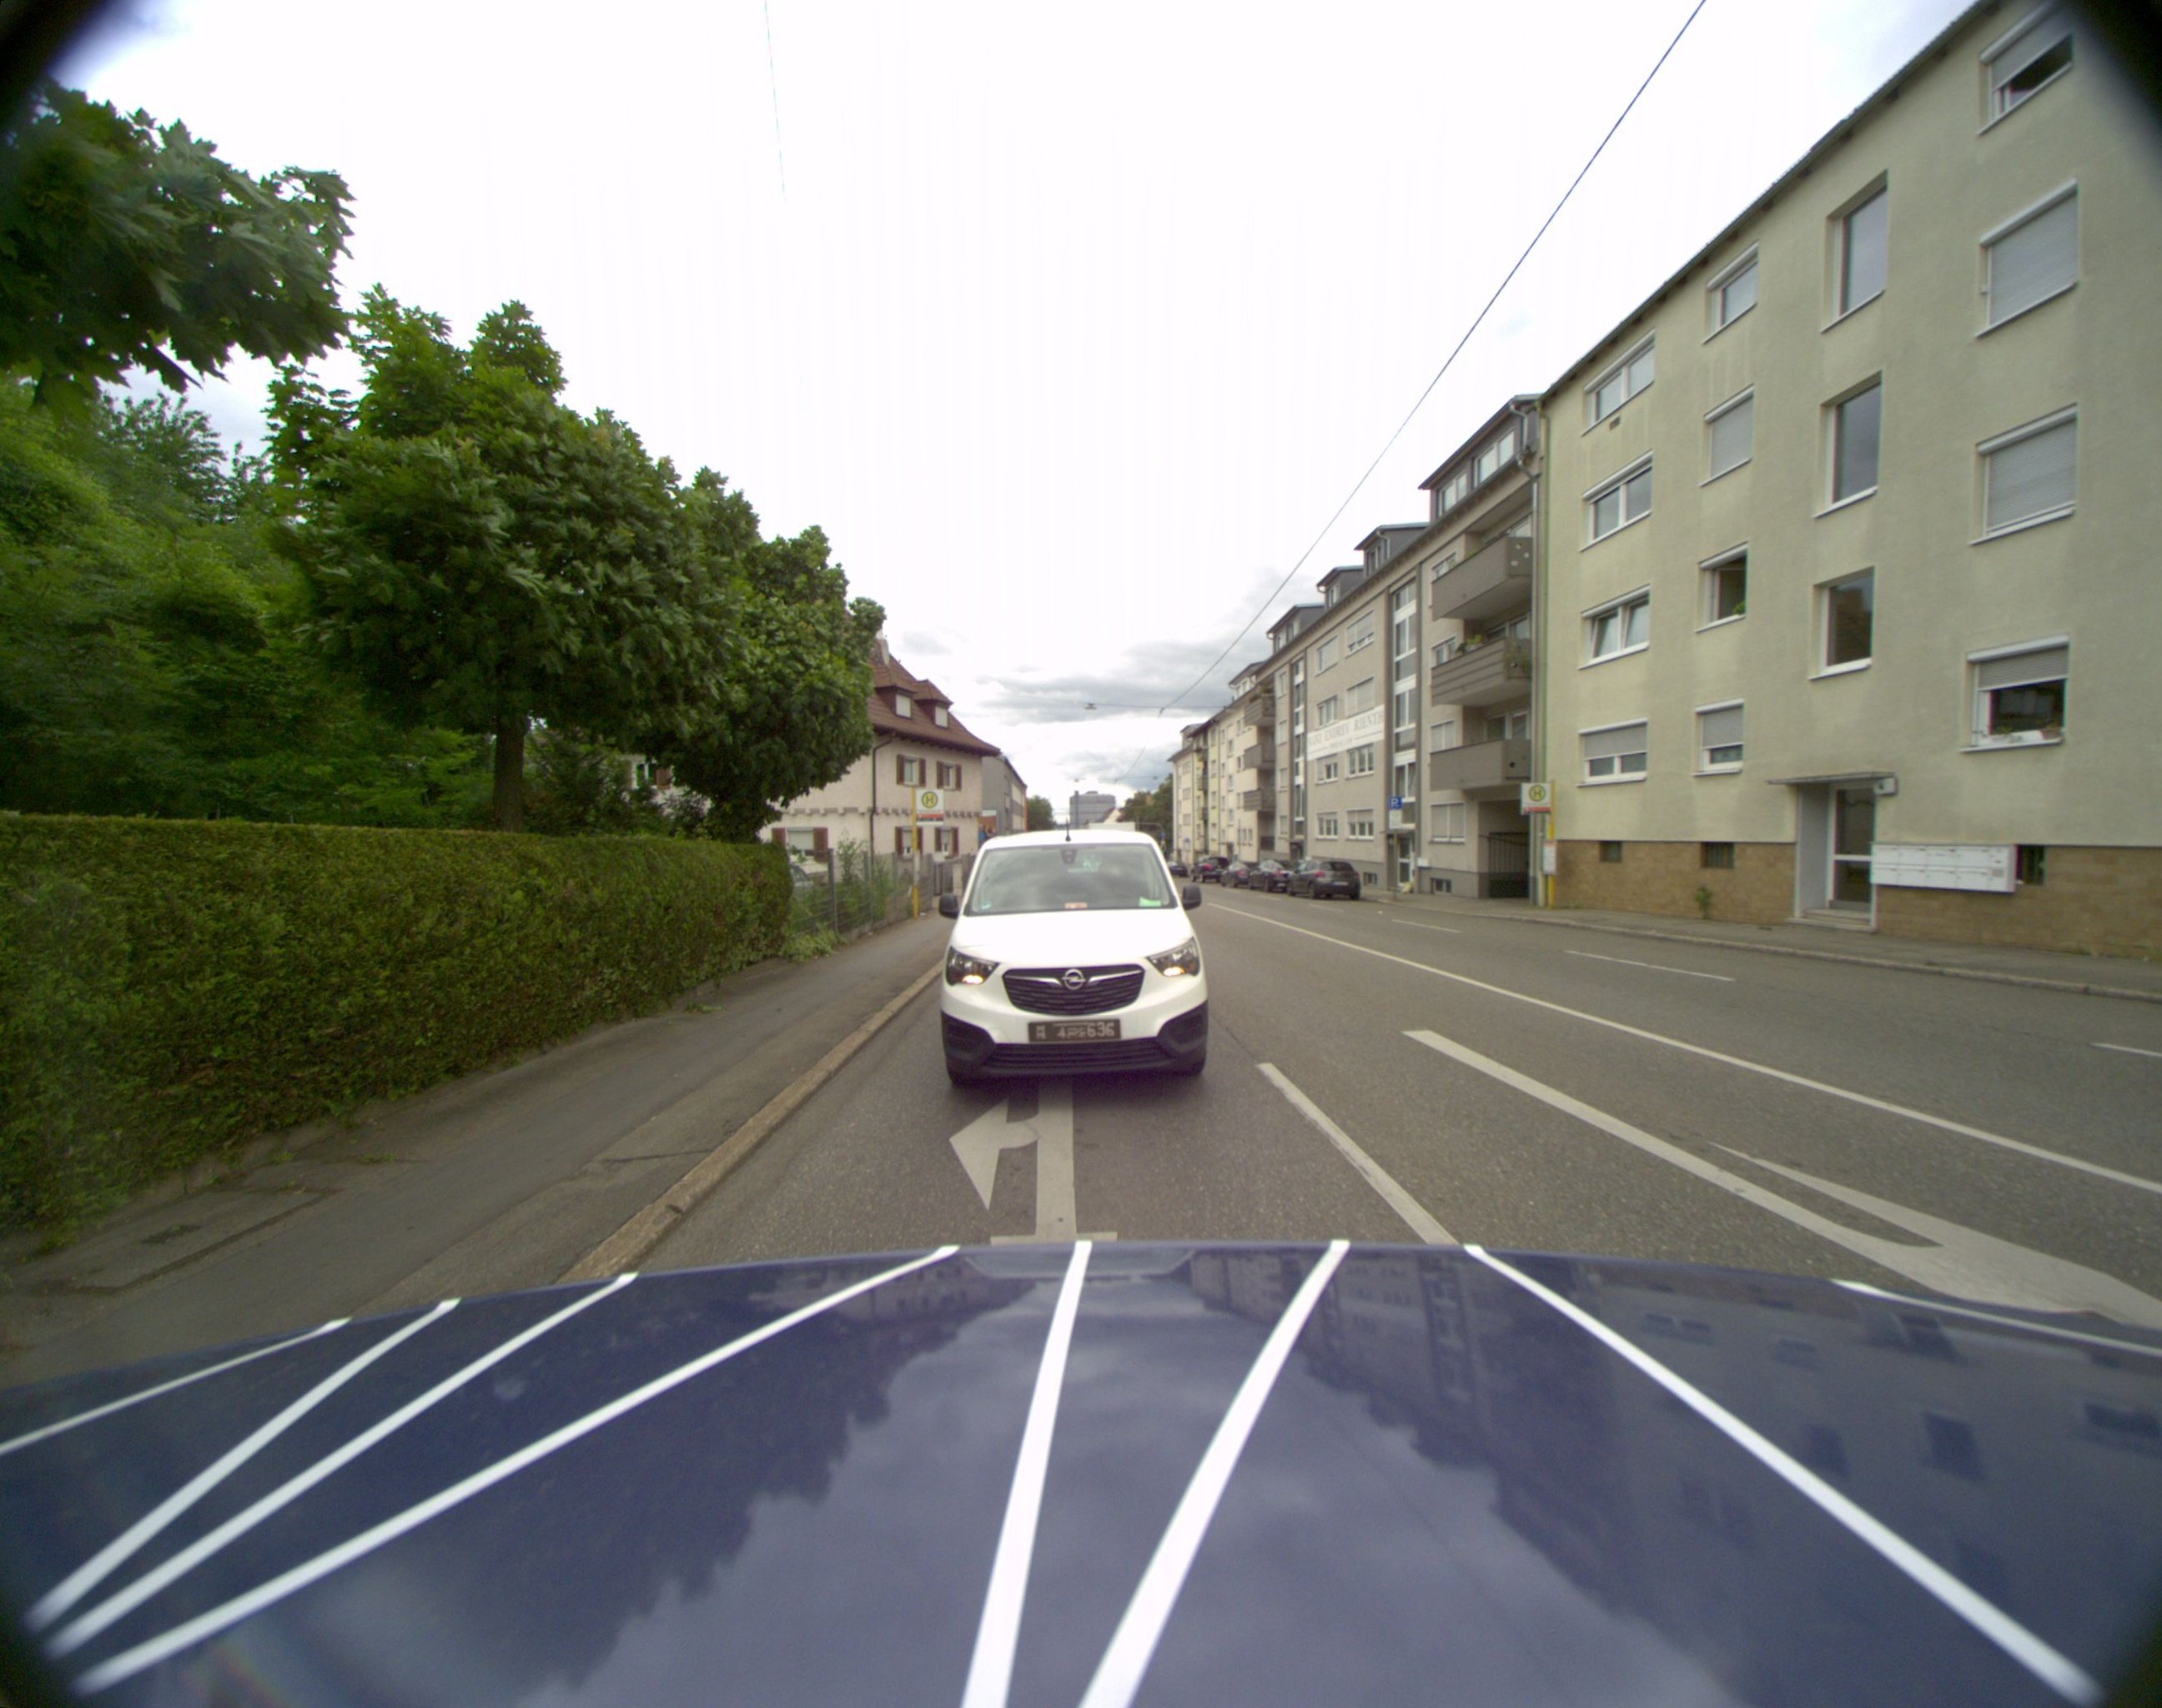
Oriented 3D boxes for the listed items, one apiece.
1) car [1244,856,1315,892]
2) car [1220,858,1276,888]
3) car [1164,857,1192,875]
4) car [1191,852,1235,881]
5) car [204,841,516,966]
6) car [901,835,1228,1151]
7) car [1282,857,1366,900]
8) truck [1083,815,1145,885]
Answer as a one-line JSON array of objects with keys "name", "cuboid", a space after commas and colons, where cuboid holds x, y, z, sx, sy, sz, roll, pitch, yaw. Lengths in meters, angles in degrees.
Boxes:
[{"name": "car", "cuboid": [8.770, 0.848, 33.981, 1.773, 1.397, 4.717, 1, 0, -2]}, {"name": "car", "cuboid": [8.580, 0.942, 39.388, 1.773, 1.397, 4.306, 1, 0, -2]}, {"name": "car", "cuboid": [8.307, 0.986, 65.463, 1.875, 1.372, 4.307, 2, 0, 0]}, {"name": "car", "cuboid": [8.407, 0.760, 48.718, 1.875, 1.743, 4.306, 1, 0, -2]}, {"name": "car", "cuboid": [-13.368, 0.780, 14.287, 1.994, 2.002, 4.008, -1, 0, 40]}, {"name": "car", "cuboid": [-0.147, 0.780, 6.373, 1.803, 1.736, 3.999, -3, 1, -2]}, {"name": "car", "cuboid": [8.949, 0.867, 28.334, 1.773, 1.428, 3.800, 1, 0, -2]}, {"name": "truck", "cuboid": [1.728, -0.201, 43.574, 2.776, 3.554, 8.062, -2, 0, -2]}]
